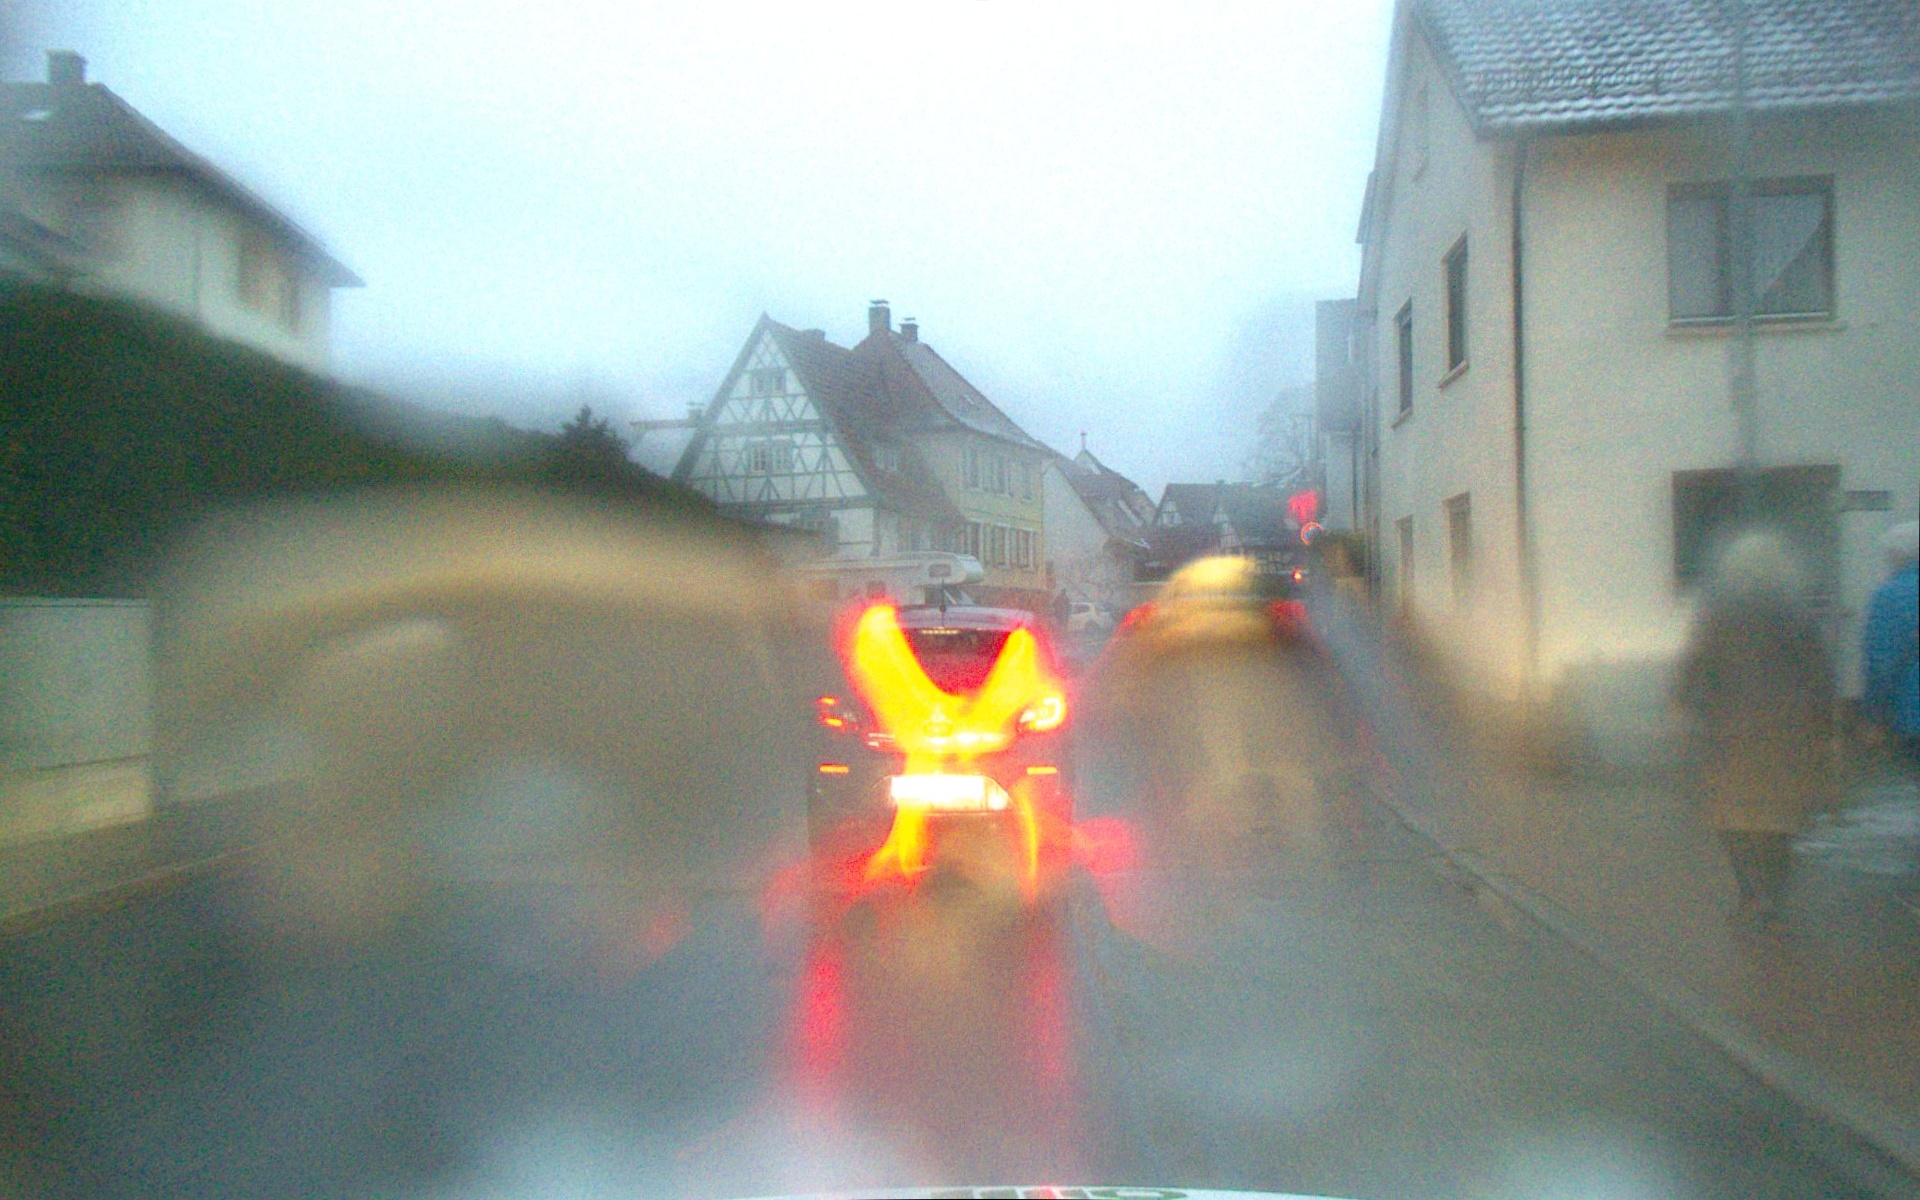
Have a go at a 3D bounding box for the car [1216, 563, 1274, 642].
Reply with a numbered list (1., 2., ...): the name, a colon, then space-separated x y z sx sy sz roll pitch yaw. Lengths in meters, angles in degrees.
1. car: 9.342 0.084 54.035 1.775 2.455 3.755 0 0 11

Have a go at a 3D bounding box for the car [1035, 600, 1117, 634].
1. car: 5.288 0.763 75.092 3.433 1.533 1.693 0 0 17

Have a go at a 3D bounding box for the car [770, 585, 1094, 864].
1. car: -0.123 0.686 11.080 1.758 1.502 4.000 1 0 1

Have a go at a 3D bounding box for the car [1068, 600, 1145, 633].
1. car: 6.860 0.778 77.378 3.432 1.533 1.694 0 0 11

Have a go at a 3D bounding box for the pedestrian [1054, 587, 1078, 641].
1. pedestrian: 4.038 0.531 62.974 0.855 2.049 0.795 0 0 9

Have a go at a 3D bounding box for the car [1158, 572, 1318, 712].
1. car: 3.617 0.515 22.181 1.808 1.666 4.338 1 0 6

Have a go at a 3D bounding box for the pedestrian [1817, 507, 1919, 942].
1. pedestrian: 4.313 0.482 7.021 0.830 1.763 0.972 -3 0 7

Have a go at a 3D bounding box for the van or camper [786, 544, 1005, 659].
1. van or camper: -1.900 0.066 49.146 5.932 3.006 2.408 -3 -1 15

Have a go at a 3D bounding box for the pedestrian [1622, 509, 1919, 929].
1. pedestrian: 3.555 0.494 7.322 0.848 1.696 0.993 -3 0 7
